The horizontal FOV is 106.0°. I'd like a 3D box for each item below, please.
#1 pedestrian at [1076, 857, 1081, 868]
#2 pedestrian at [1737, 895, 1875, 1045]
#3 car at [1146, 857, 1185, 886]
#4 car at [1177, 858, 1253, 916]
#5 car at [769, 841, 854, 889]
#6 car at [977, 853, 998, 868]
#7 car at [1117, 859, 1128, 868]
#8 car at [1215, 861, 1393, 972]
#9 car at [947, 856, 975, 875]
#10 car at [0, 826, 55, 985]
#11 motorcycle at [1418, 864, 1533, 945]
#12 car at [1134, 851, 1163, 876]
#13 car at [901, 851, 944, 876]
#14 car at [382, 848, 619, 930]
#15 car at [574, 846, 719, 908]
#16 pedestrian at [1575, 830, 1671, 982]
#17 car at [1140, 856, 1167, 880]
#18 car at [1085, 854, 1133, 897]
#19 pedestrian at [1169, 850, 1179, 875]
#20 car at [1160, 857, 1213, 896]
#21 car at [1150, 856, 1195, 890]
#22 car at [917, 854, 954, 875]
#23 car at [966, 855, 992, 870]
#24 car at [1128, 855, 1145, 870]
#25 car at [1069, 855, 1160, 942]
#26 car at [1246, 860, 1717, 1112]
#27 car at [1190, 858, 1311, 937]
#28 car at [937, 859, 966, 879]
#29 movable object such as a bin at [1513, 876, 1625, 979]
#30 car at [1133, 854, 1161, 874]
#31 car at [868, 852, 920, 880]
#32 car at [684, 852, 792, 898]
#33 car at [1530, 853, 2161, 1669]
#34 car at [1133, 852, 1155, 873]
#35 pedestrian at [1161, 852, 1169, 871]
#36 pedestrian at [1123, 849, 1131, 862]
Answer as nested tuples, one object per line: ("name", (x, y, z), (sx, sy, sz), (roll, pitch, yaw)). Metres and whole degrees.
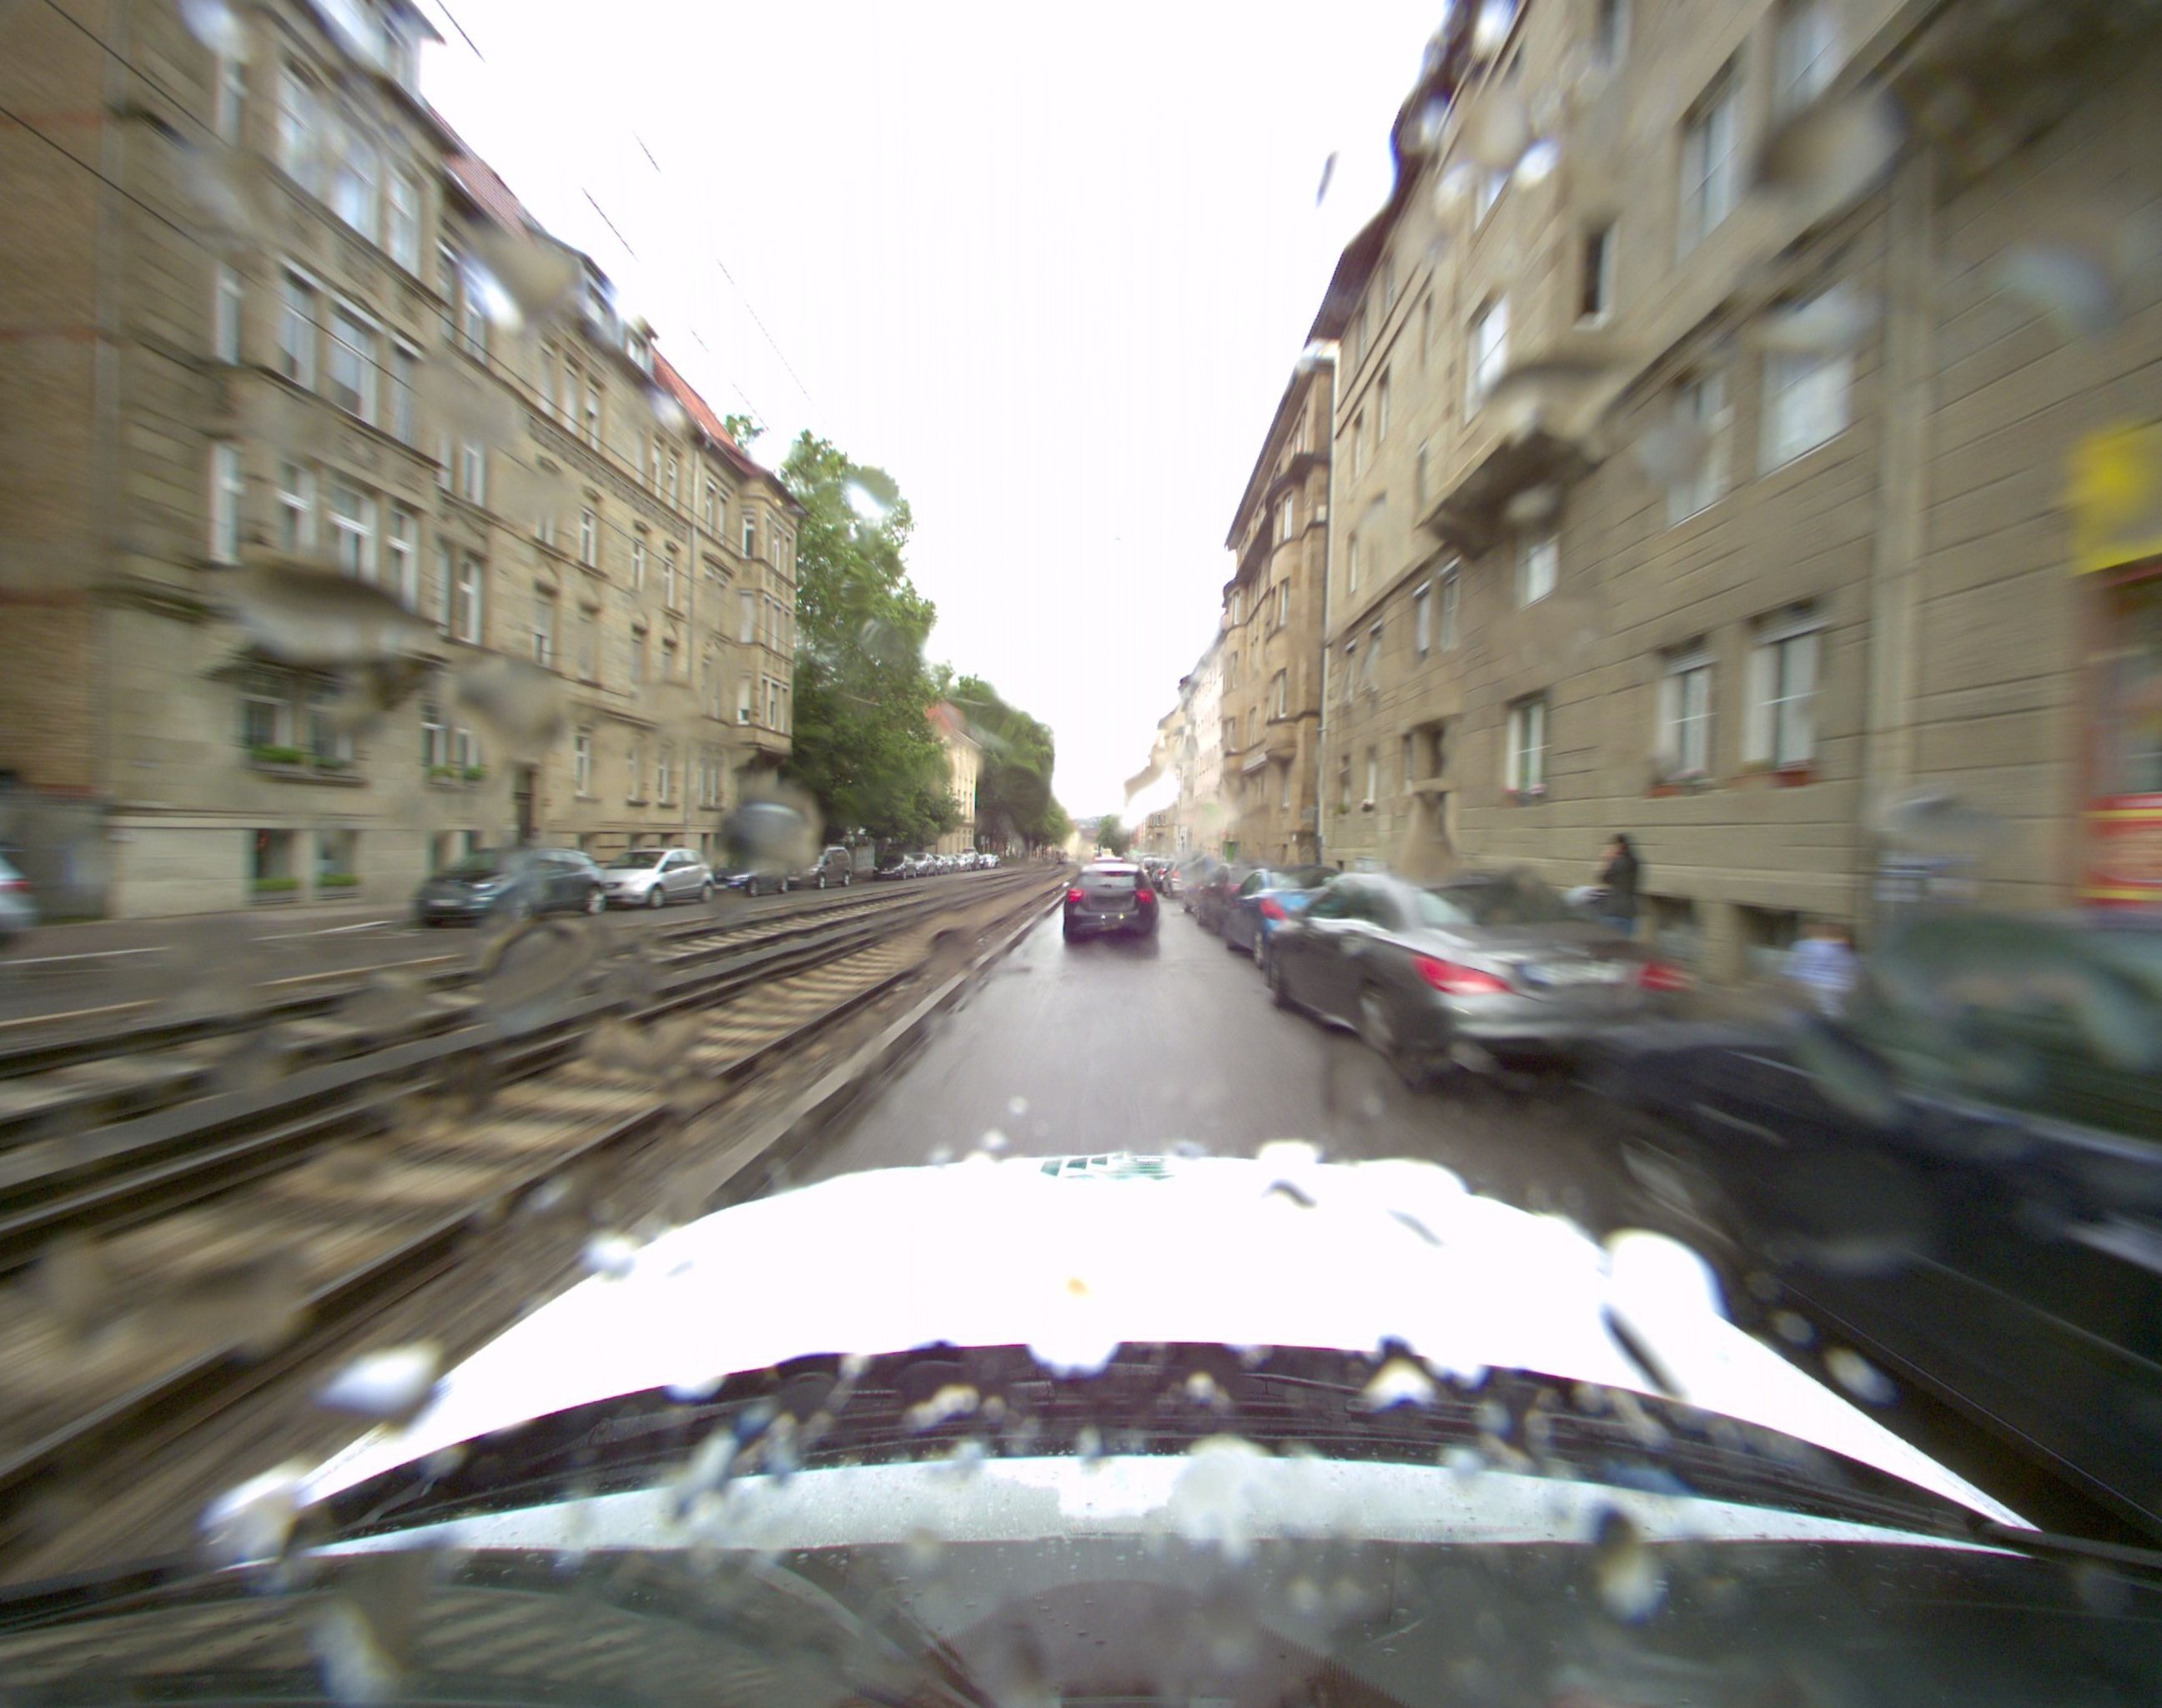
("pedestrian", (-0.395, 1.270, 123.619), (0.802, 1.633, 0.893), (-1, 0, 2))
("pedestrian", (5.539, 0.860, 6.251), (0.508, 1.050, 0.627), (1, 0, 2))
("car", (4.367, 0.893, 42.570), (1.664, 1.410, 4.312), (0, 0, 0))
("car", (3.559, 0.836, 22.137), (1.538, 1.415, 3.446), (0, 0, 1))
("car", (-11.172, 0.431, 34.182), (1.794, 1.846, 4.821), (-1, 0, 2))
("car", (-9.401, 0.631, 82.085), (1.494, 1.391, 3.991), (-1, 0, 3))
("car", (7.087, 1.618, 139.990), (1.820, 1.618, 3.866), (-1, 0, 2))
("car", (3.221, 0.833, 12.559), (1.701, 1.398, 4.018), (0, 0, 1))
("car", (-9.866, 0.948, 67.236), (1.534, 1.505, 4.155), (-1, 0, 1))
("car", (-12.184, 0.533, 6.742), (1.852, 1.652, 4.316), (0, 0, 1))
("motorcycle", (6.561, 0.784, 13.743), (0.702, 1.199, 2.747), (1, 0, 2))
("car", (4.778, 0.649, 58.003), (1.784, 1.765, 4.213), (0, 0, 1))
("car", (-10.172, 0.579, 52.586), (1.748, 1.536, 4.544), (-1, 0, 1))
("car", (-11.845, 0.642, 17.043), (1.863, 1.508, 4.171), (0, 0, 2))
("car", (-11.558, 0.573, 21.982), (1.688, 1.524, 3.857), (0, 0, 3))
("pedestrian", (5.723, 0.529, 8.636), (0.559, 1.535, 0.710), (1, 0, 2))
("car", (4.688, 0.882, 53.118), (1.564, 1.462, 3.602), (0, 0, 2))
("car", (1.114, 0.801, 32.268), (1.778, 1.581, 4.002), (1, 0, 2))
("pedestrian", (6.601, 0.588, 57.674), (0.605, 1.763, 0.689), (-1, 0, 1))
("car", (4.023, 0.822, 31.531), (1.585, 1.434, 3.683), (0, 0, 0))
("car", (4.119, 0.831, 37.082), (1.662, 1.434, 3.957), (0, 0, 1))
("car", (-10.171, 0.702, 57.334), (1.748, 1.413, 4.154), (-1, 0, 1))
("car", (-9.673, 0.798, 77.449), (1.667, 1.413, 4.013), (-1, 0, 3))
("car", (5.797, 0.860, 85.686), (1.686, 1.529, 4.002), (1, 0, 2))
("car", (0.635, 0.781, 15.964), (1.574, 1.505, 3.575), (1, 0, 2))
("car", (2.790, 0.778, 6.973), (1.749, 1.387, 4.483), (-1, 0, -1))
("car", (3.480, 0.832, 17.437), (1.781, 1.462, 4.084), (0, 0, 1))
("car", (-9.863, 1.124, 62.229), (1.534, 1.413, 3.954), (-1, 0, 1))
("movable object such as a bin", (5.704, 0.826, 9.587), (0.662, 1.103, 1.124), (1, 0, 2))
("car", (5.043, 0.760, 62.933), (1.865, 1.455, 4.904), (1, 0, 1))
("car", (-10.664, 0.649, 46.745), (1.843, 1.464, 4.550), (-1, 0, 0))
("car", (-11.443, 0.657, 27.491), (1.756, 1.398, 4.270), (-1, 0, 1))
("car", (2.782, 0.733, 1.745), (1.664, 1.444, 3.792), (-1, 0, 2))
("car", (5.602, 0.718, 72.737), (1.820, 1.750, 4.471), (1, 0, 4))
("pedestrian", (8.232, 0.703, 79.783), (0.742, 1.833, 1.040), (-2, 0, 3))
("pedestrian", (7.294, 0.278, 128.261), (1.135, 1.998, 1.171), (-1, 0, -2))
